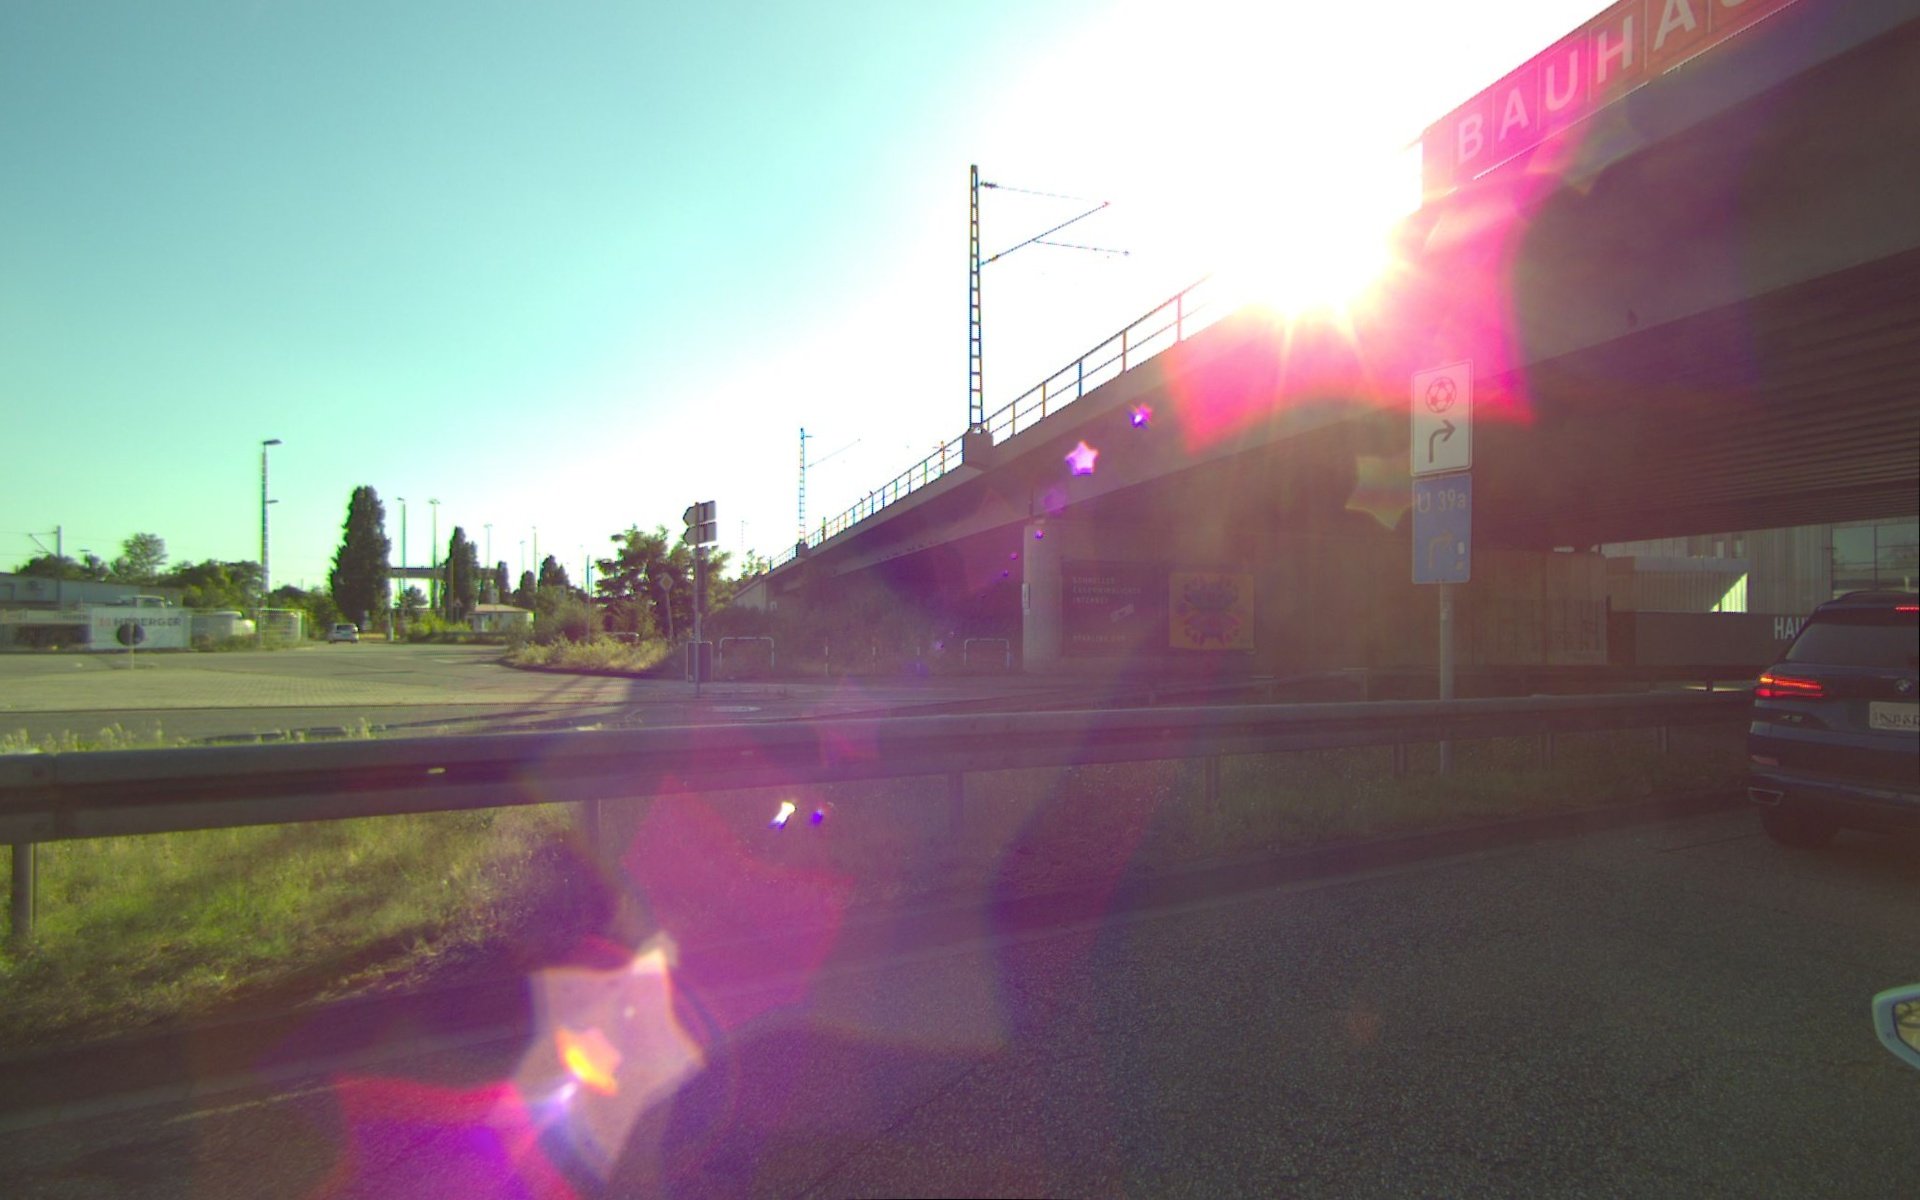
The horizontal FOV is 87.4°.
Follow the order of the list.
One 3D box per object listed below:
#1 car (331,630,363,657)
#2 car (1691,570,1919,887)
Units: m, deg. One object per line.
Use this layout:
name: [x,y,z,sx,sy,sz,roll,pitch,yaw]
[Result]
car: [-50.343,3.572,82.525,1.980,2.040,3.961,2,0,-35]
car: [7.247,0.774,6.719,4.474,1.757,1.986,2,0,-27]
